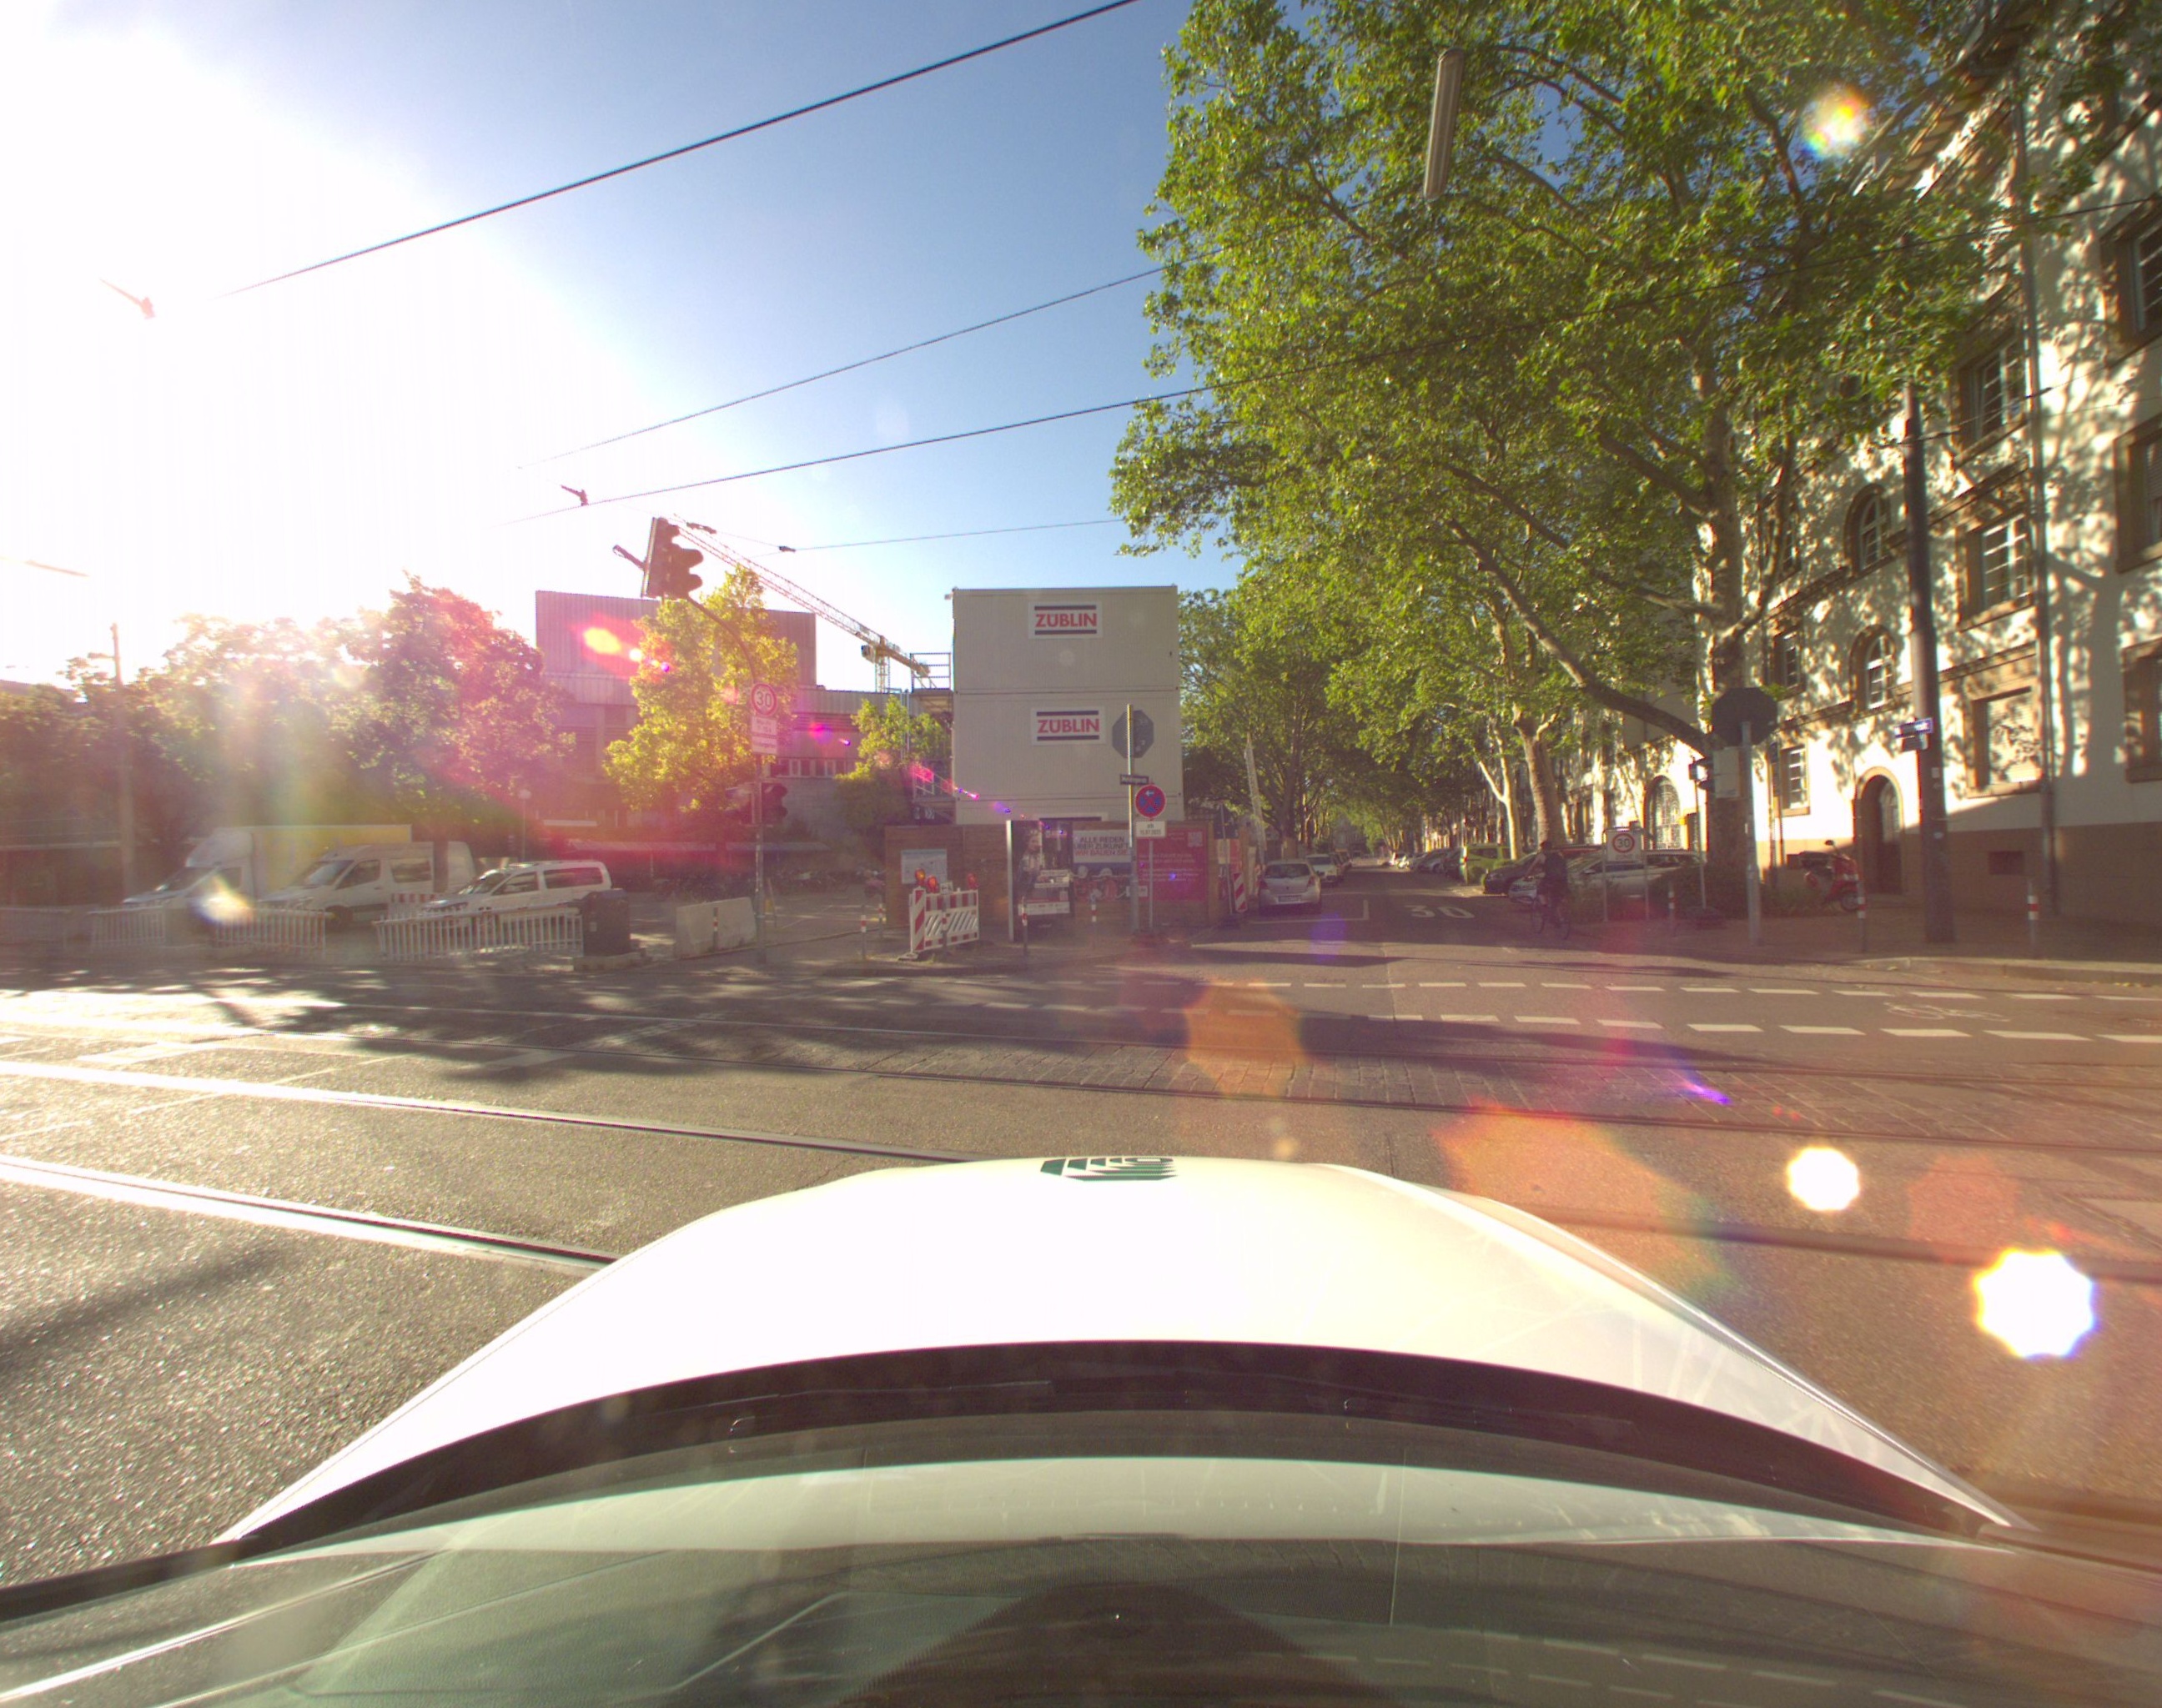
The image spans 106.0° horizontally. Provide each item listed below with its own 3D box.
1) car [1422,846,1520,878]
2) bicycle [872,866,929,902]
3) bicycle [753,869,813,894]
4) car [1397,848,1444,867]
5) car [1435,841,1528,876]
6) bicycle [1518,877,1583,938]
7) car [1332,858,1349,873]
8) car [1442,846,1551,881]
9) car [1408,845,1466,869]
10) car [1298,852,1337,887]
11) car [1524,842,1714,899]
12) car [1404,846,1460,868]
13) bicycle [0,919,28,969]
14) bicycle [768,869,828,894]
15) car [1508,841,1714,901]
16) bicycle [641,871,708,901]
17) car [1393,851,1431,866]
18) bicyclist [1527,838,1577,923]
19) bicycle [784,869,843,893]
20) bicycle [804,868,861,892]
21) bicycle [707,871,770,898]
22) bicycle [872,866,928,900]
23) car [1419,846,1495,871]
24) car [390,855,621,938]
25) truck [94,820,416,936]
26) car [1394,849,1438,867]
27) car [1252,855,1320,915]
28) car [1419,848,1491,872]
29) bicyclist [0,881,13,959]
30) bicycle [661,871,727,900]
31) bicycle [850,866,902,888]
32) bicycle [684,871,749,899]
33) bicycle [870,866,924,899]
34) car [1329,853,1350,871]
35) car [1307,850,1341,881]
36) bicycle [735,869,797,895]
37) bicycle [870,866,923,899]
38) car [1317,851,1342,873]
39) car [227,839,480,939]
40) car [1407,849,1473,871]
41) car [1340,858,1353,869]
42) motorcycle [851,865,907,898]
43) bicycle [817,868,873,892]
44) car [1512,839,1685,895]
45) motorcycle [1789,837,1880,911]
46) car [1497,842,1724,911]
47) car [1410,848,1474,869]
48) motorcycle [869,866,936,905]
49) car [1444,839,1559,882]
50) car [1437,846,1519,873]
[{"bbox_3d":[20.603,0.419,43.200,4.426,1.571,1.736,-2,-1,17],"label":"car"},{"bbox_3d":[-6.791,1.098,30.628,2.050,1.257,0.468,-2,0,-19],"label":"bicycle"},{"bbox_3d":[-14.223,1.322,38.836,3.050,1.147,0.826,-2,0,27],"label":"bicycle"},{"bbox_3d":[35.756,0.336,85.887,4.426,1.898,1.736,-2,-1,17],"label":"car"},{"bbox_3d":[22.486,0.254,45.884,4.427,1.836,1.736,-2,-1,17],"label":"car"},{"bbox_3d":[8.690,0.958,15.138,0.684,1.016,1.916,0,0,19],"label":"bicycle"},{"bbox_3d":[28.661,1.201,89.916,1.652,1.562,4.238,-2,-1,17],"label":"car"},{"bbox_3d":[19.925,0.461,39.252,4.426,1.571,1.736,-2,-1,17],"label":"car"},{"bbox_3d":[30.968,0.274,70.976,4.426,1.898,1.736,-2,-1,17],"label":"car"},{"bbox_3d":[11.359,0.693,39.047,1.652,1.562,4.018,-2,-1,17],"label":"car"},{"bbox_3d":[16.015,0.500,24.497,4.426,1.571,1.736,-2,-1,17],"label":"car"},{"bbox_3d":[31.690,0.277,73.667,4.426,1.898,1.736,-2,-1,17],"label":"car"},{"bbox_3d":[-23.410,1.911,17.268,1.900,1.018,0.685,-2,-1,17],"label":"bicycle"},{"bbox_3d":[-13.771,1.331,39.618,3.050,1.147,0.826,-2,0,27],"label":"bicycle"},{"bbox_3d":[14.461,0.475,22.505,4.426,1.500,1.736,-2,-1,17],"label":"car"},{"bbox_3d":[-16.765,1.324,33.561,3.050,1.147,0.826,-2,0,27],"label":"bicycle"},{"bbox_3d":[42.401,0.578,104.436,4.426,1.898,1.736,-2,-1,17],"label":"car"},{"bbox_3d":[8.622,0.467,14.935,0.671,1.513,0.672,0,0,19],"label":"bicyclist"},{"bbox_3d":[-13.316,1.341,40.489,3.050,1.147,0.826,-2,0,27],"label":"bicycle"},{"bbox_3d":[-12.698,1.338,41.532,3.050,1.147,0.826,-2,0,27],"label":"bicycle"},{"bbox_3d":[-15.358,1.359,36.476,3.050,1.147,0.826,-2,0,27],"label":"bicycle"},{"bbox_3d":[-7.047,1.115,31.655,2.050,1.257,0.540,-2,0,-19],"label":"bicycle"},{"bbox_3d":[25.316,0.326,54.979,4.426,1.571,1.736,-2,-1,17],"label":"car"},{"bbox_3d":[-16.126,1.094,23.204,1.986,1.892,4.976,-1,2,24],"label":"car"},{"bbox_3d":[-27.107,0.619,27.315,2.363,3.347,7.156,-1,1,19],"label":"truck"},{"bbox_3d":[38.196,0.475,92.942,4.426,1.898,1.736,-2,-1,17],"label":"car"},{"bbox_3d":[6.029,0.837,23.660,1.630,1.494,4.018,-4,-1,17],"label":"car"},{"bbox_3d":[26.238,0.426,57.292,4.426,1.571,1.736,-2,-1,17],"label":"car"},{"bbox_3d":[-23.429,1.422,17.276,0.803,1.658,0.685,-2,-1,18],"label":"bicyclist"},{"bbox_3d":[-16.420,1.336,34.502,3.050,1.147,0.826,-2,0,27],"label":"bicycle"},{"bbox_3d":[-11.555,1.308,45.907,3.050,1.147,0.826,-2,0,27],"label":"bicycle"},{"bbox_3d":[-15.909,1.348,35.541,3.050,1.147,0.826,-2,0,27],"label":"bicycle"},{"bbox_3d":[-7.422,1.134,32.783,2.050,1.257,0.540,-2,0,-19],"label":"bicycle"},{"bbox_3d":[23.465,0.748,74.018,1.652,1.562,4.299,-2,-1,17],"label":"car"},{"bbox_3d":[13.227,0.621,44.286,1.652,1.562,4.539,-2,-1,17],"label":"car"},{"bbox_3d":[-14.687,1.311,37.902,3.050,1.147,0.826,-2,0,27],"label":"bicycle"},{"bbox_3d":[-7.549,1.144,33.364,2.050,1.257,0.540,-2,0,-19],"label":"bicycle"},{"bbox_3d":[18.405,0.562,60.226,1.652,1.562,4.636,-2,-1,17],"label":"car"},{"bbox_3d":[-21.915,0.922,24.936,1.978,2.530,5.405,-2,3,16],"label":"car"},{"bbox_3d":[27.257,0.466,62.002,4.426,1.571,1.736,-2,-1,17],"label":"car"},{"bbox_3d":[38.421,1.374,117.936,1.652,1.562,4.238,-2,-1,17],"label":"car"},{"bbox_3d":[-8.500,1.144,34.278,2.211,1.257,0.540,-2,0,-19],"label":"motorcycle"},{"bbox_3d":[-12.314,1.363,42.392,3.050,1.147,0.826,-2,0,27],"label":"bicycle"},{"bbox_3d":[16.677,0.438,26.487,4.426,1.671,1.736,-2,-1,17],"label":"car"},{"bbox_3d":[14.333,0.367,15.546,0.510,1.332,1.771,-2,0,16],"label":"motorcycle"},{"bbox_3d":[13.039,0.568,20.377,4.426,1.571,1.736,-2,-1,17],"label":"car"},{"bbox_3d":[28.361,0.369,64.091,4.426,1.571,1.736,-2,-1,17],"label":"car"},{"bbox_3d":[-6.270,1.097,28.625,2.211,1.257,0.540,-2,0,-19],"label":"motorcycle"},{"bbox_3d":[19.185,0.316,37.364,4.427,1.836,1.736,-2,-1,17],"label":"car"},{"bbox_3d":[25.103,0.357,51.657,4.426,1.571,1.736,-2,-1,17],"label":"car"}]
